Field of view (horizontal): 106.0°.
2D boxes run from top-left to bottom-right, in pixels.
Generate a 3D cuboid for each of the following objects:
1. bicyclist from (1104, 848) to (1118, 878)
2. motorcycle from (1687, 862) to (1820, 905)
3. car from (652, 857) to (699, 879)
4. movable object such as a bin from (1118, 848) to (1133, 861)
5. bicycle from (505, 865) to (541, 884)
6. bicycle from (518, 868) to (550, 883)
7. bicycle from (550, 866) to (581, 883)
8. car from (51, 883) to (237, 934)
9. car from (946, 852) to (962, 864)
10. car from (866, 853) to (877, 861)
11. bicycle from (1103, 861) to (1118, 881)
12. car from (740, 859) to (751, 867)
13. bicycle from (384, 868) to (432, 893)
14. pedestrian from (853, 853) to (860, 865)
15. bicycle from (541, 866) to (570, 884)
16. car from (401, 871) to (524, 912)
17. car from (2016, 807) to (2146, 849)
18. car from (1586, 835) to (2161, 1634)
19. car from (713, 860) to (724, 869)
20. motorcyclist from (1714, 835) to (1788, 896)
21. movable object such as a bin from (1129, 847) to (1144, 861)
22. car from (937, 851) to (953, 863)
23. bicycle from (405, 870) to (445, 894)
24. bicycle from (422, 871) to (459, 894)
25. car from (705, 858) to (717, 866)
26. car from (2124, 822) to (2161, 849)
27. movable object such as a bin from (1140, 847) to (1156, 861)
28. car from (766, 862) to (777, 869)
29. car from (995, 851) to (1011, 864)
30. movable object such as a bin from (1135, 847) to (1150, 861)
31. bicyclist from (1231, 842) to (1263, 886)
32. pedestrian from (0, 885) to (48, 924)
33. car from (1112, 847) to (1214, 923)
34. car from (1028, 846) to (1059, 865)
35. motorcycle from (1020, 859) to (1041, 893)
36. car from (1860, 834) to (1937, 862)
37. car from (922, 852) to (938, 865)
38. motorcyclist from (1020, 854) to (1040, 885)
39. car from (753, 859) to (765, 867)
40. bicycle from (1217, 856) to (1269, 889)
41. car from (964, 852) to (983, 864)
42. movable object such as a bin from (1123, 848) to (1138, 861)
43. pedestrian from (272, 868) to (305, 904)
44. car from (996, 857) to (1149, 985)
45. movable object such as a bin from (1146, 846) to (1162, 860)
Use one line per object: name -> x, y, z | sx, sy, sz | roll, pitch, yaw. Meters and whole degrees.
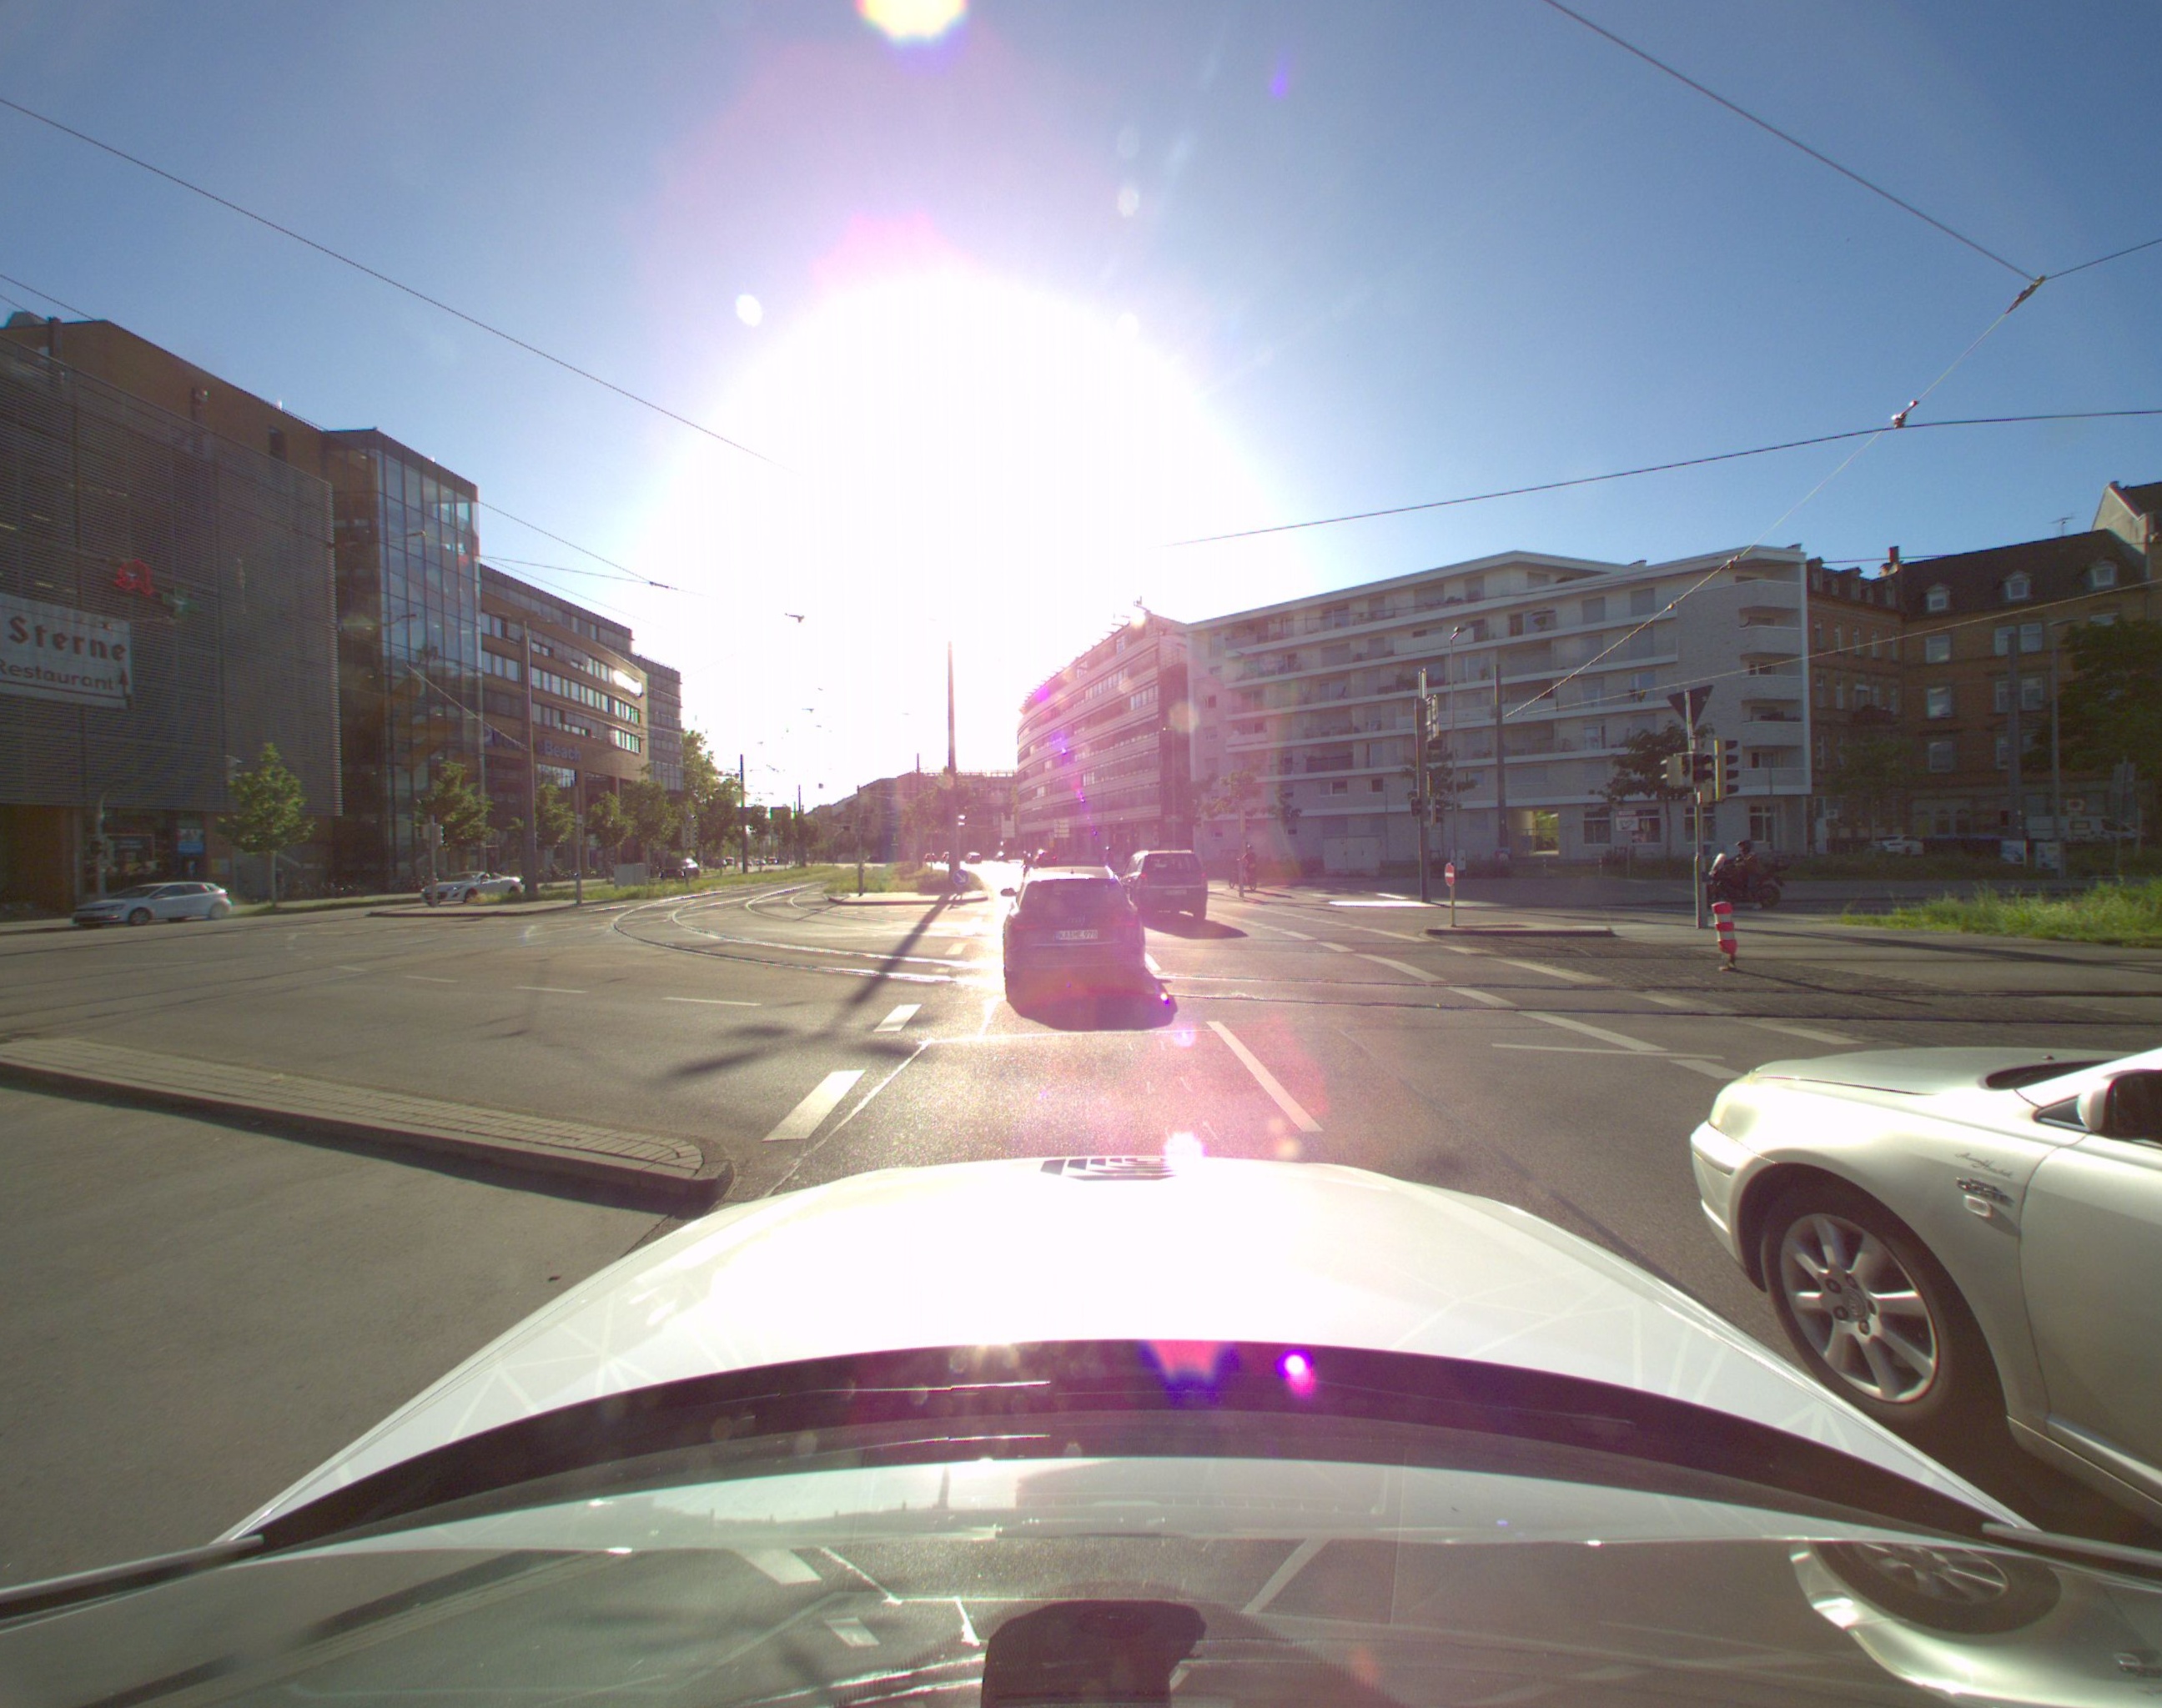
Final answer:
bicyclist -> 1.688, 0.481, 45.889 | 0.650, 1.642, 0.974 | -1, 1, 6
motorcycle -> 17.248, 0.738, 20.933 | 2.444, 1.000, 1.172 | -1, 0, 1
car -> -32.336, 1.098, 65.070 | 1.992, 1.640, 4.401 | -1, 0, -7
movable object such as a bin -> 4.565, 0.043, 84.028 | 1.065, 1.332, 1.116 | -2, -1, -25
bicycle -> -45.779, 1.696, 66.818 | 2.590, 1.433, 0.774 | -2, -1, 12
bicycle -> -45.851, 1.801, 68.253 | 2.398, 1.236, 0.747 | -2, -1, 12
bicycle -> -45.734, 1.819, 72.319 | 2.404, 1.433, 0.791 | -2, -1, 12
car -> -32.828, 1.852, 28.722 | 1.889, 1.407, 3.998 | -2, 1, -1
car -> -17.963, 0.520, 115.133 | 1.995, 1.596, 3.984 | -2, 0, -12
car -> -47.625, 0.772, 185.216 | 2.002, 1.706, 3.970 | -2, -1, -22
bicycle -> 1.660, 0.920, 45.895 | 0.650, 1.043, 1.933 | -1, 1, 7
car -> -74.841, 2.084, 181.558 | 2.004, 1.684, 3.966 | -2, 0, -26
bicycle -> -42.930, 1.691, 51.980 | 2.354, 1.433, 1.080 | -2, -1, 12
pedestrian -> -35.027, 0.781, 127.079 | 0.903, 1.824, 0.825 | -2, -1, -14
bicycle -> -45.932, 1.846, 71.151 | 2.124, 1.433, 0.761 | -2, -1, 12
car -> -27.389, 1.613, 36.293 | 1.987, 1.545, 4.529 | -1, 0, 0
car -> 59.411, -1.501, 48.530 | 4.544, 2.310, 2.012 | -1, 0, 42
car -> 2.862, 0.697, 0.919 | 1.740, 1.481, 4.628 | -1, 0, 1
car -> -79.061, 2.279, 177.656 | 2.004, 1.684, 3.966 | -2, 0, -26
motorcyclist -> 17.189, 0.285, 20.932 | 0.921, 1.481, 1.172 | -1, 0, 1
movable object such as a bin -> 5.597, 0.027, 81.830 | 1.065, 1.332, 1.116 | -2, -1, -25
car -> -20.232, 0.455, 120.937 | 1.997, 1.706, 3.980 | -2, -1, -15
bicycle -> -42.696, 1.805, 53.043 | 2.069, 1.433, 0.863 | -2, -1, 12
bicycle -> -42.583, 1.901, 54.148 | 1.964, 1.433, 0.809 | -2, -1, 12
car -> -91.646, 1.997, 201.814 | 2.009, 2.013, 3.956 | -2, 1, -36
car -> 54.821, -0.969, 40.189 | 1.980, 1.354, 4.014 | -2, 0, 12
movable object such as a bin -> 6.558, -0.035, 79.672 | 1.065, 1.332, 1.116 | -2, -1, -25
car -> -71.852, 2.630, 188.950 | 2.004, 1.684, 3.966 | -2, 0, -26
car -> -11.937, 0.577, 124.858 | 1.995, 1.838, 3.984 | -2, -1, -12
movable object such as a bin -> 6.061, -0.024, 80.787 | 1.065, 1.332, 1.116 | -2, -1, -25
bicyclist -> 6.613, 0.400, 32.508 | 0.772, 1.706, 0.920 | -1, 0, -35
pedestrian -> -43.866, 2.083, 33.780 | 0.983, 1.566, 0.830 | -3, -1, 3
car -> 1.917, 0.689, 20.298 | 1.743, 1.696, 4.252 | 1, 0, -6
car -> -3.642, 0.124, 77.486 | 2.007, 1.715, 4.348 | 0, 1, -16
motorcycle -> -2.213, 0.952, 35.880 | 0.861, 1.393, 1.891 | -1, 0, -4
car -> 47.650, -0.361, 47.474 | 4.008, 1.486, 1.983 | -2, -1, -26
car -> -22.389, 0.677, 120.539 | 1.997, 1.706, 3.980 | -2, -1, -15
motorcyclist -> -2.253, 0.670, 35.843 | 0.861, 1.326, 0.680 | -1, 0, -4
car -> -72.116, 2.025, 182.349 | 2.004, 1.684, 3.966 | -2, 0, -26
bicycle -> 6.475, 0.748, 32.709 | 0.772, 1.262, 2.059 | -1, 0, -35
car -> -14.833, 0.530, 112.535 | 1.997, 1.596, 3.979 | -2, -1, -15
movable object such as a bin -> 5.075, 0.037, 82.917 | 1.065, 1.332, 1.116 | -2, -1, -25
pedestrian -> -41.698, 1.687, 42.862 | 0.823, 1.824, 0.906 | -3, -1, 4
car -> -0.012, 0.805, 11.753 | 1.835, 1.454, 4.003 | 0, 1, 3
movable object such as a bin -> 7.067, -0.105, 78.529 | 1.065, 1.332, 1.116 | -2, -1, -25
